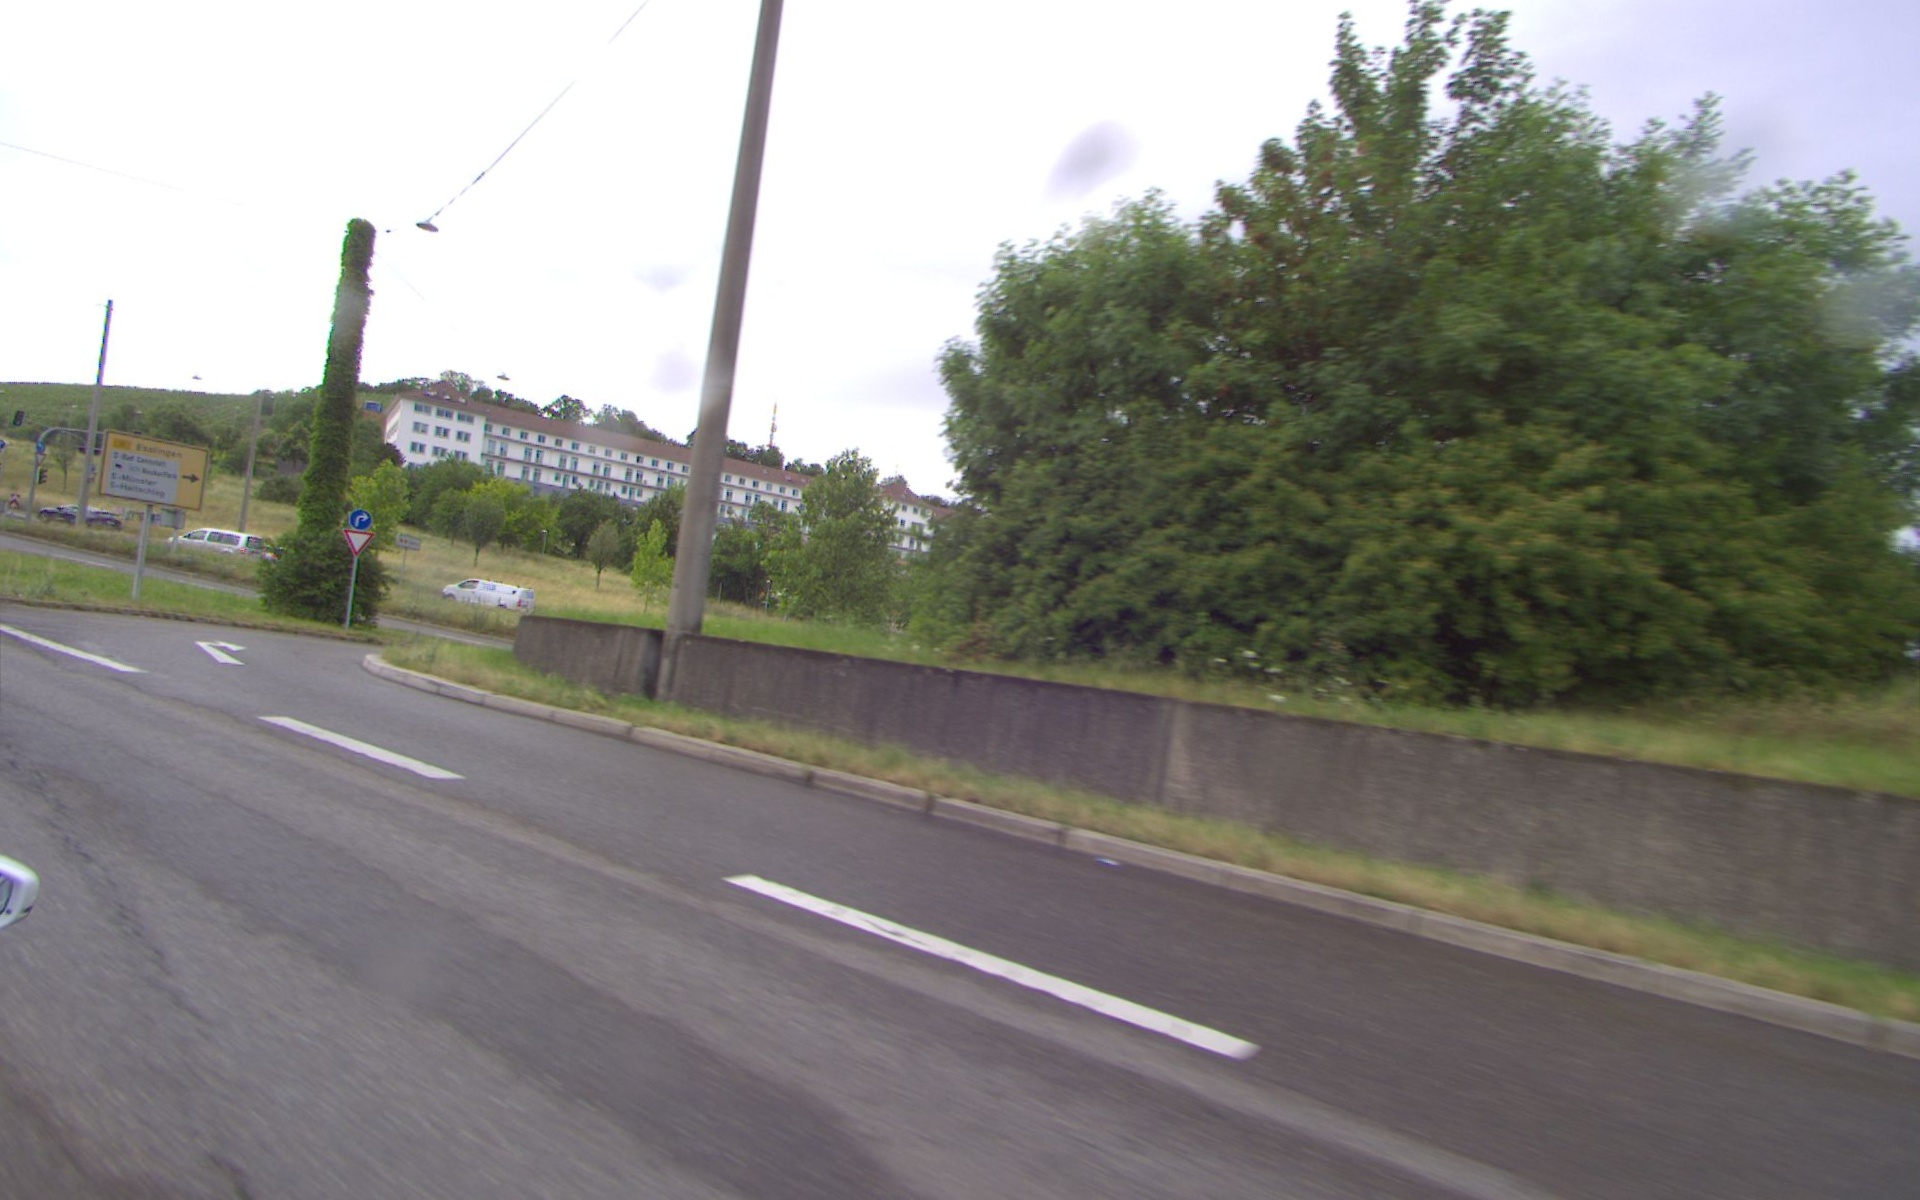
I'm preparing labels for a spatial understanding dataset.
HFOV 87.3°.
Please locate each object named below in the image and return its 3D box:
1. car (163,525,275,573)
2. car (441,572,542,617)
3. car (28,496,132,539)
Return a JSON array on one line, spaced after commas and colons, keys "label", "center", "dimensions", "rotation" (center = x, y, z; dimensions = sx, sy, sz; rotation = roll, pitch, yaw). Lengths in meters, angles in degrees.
[{"label": "car", "center": [-40.271, -2.761, 54.731], "dimensions": [4.480, 1.732, 2.000], "rotation": [10, 0, 3]}, {"label": "car", "center": [-27.456, -0.288, 59.066], "dimensions": [4.806, 1.712, 2.002], "rotation": [10, -1, 3]}, {"label": "car", "center": [-55.014, -5.132, 62.969], "dimensions": [4.483, 1.732, 1.999], "rotation": [10, 0, -2]}]
